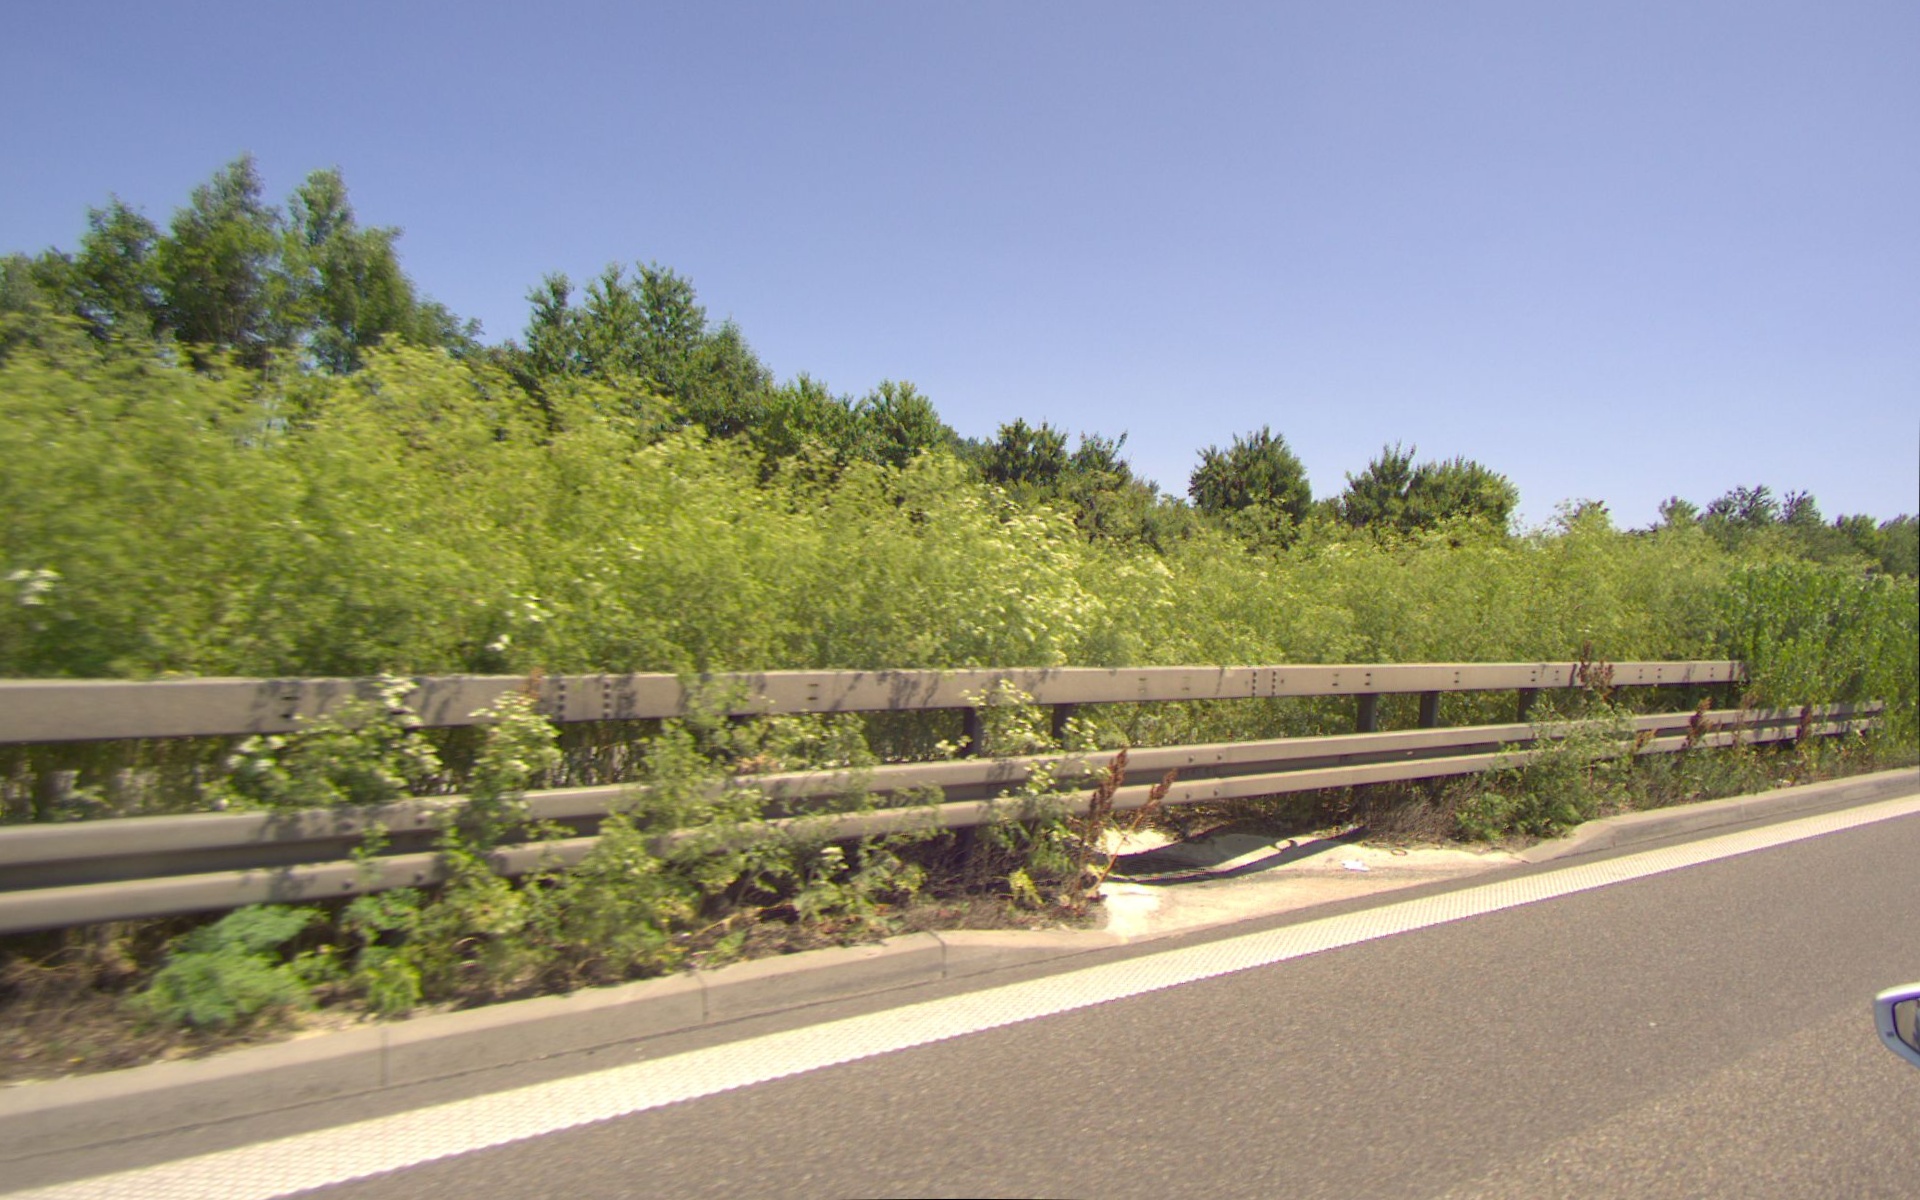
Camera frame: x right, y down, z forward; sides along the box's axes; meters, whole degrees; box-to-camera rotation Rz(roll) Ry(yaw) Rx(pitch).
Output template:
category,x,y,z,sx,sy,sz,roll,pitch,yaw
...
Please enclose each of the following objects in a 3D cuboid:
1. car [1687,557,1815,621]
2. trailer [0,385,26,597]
category,x,y,z,sx,sy,sz,roll,pitch,yaw
car,33.377,-0.401,42.362,5.452,2.484,2.556,2,-1,-32
trailer,-18.020,-1.633,10.154,12.173,2.838,2.660,2,-1,-31
